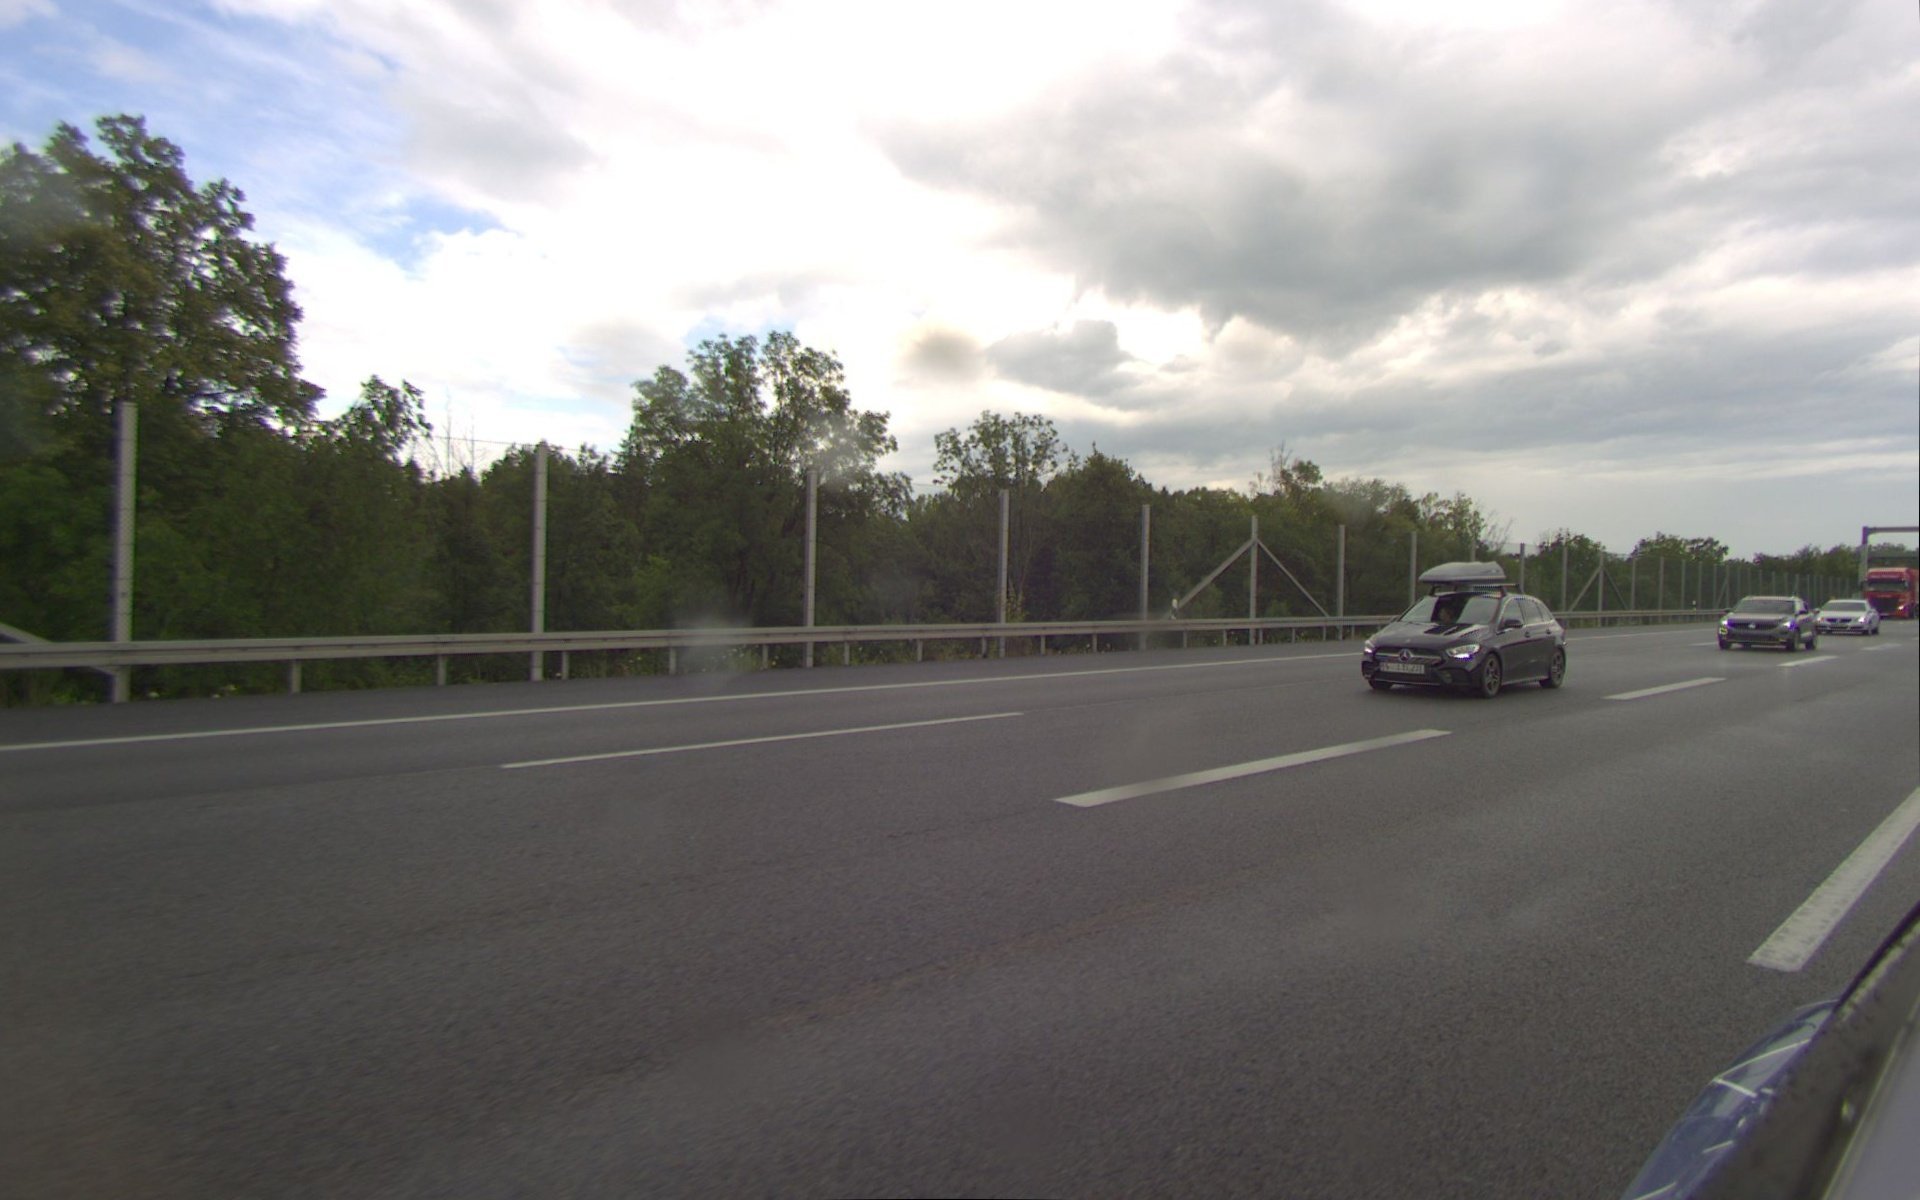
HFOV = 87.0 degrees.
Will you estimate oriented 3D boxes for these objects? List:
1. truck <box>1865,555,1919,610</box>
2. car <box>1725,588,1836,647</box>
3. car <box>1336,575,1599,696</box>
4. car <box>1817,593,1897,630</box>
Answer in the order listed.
[{"bbox_3d":[75.815,-1.236,80.865,15.358,4.054,3.159,1,0,-40],"label":"truck"},{"bbox_3d":[23.896,0.465,29.435,3.654,1.582,1.796,0,0,-39],"label":"car"},{"bbox_3d":[8.205,0.477,16.121,4.979,1.626,2.108,1,0,-42],"label":"car"},{"bbox_3d":[37.616,0.446,42.395,4.170,1.465,1.897,0,1,-40],"label":"car"}]
